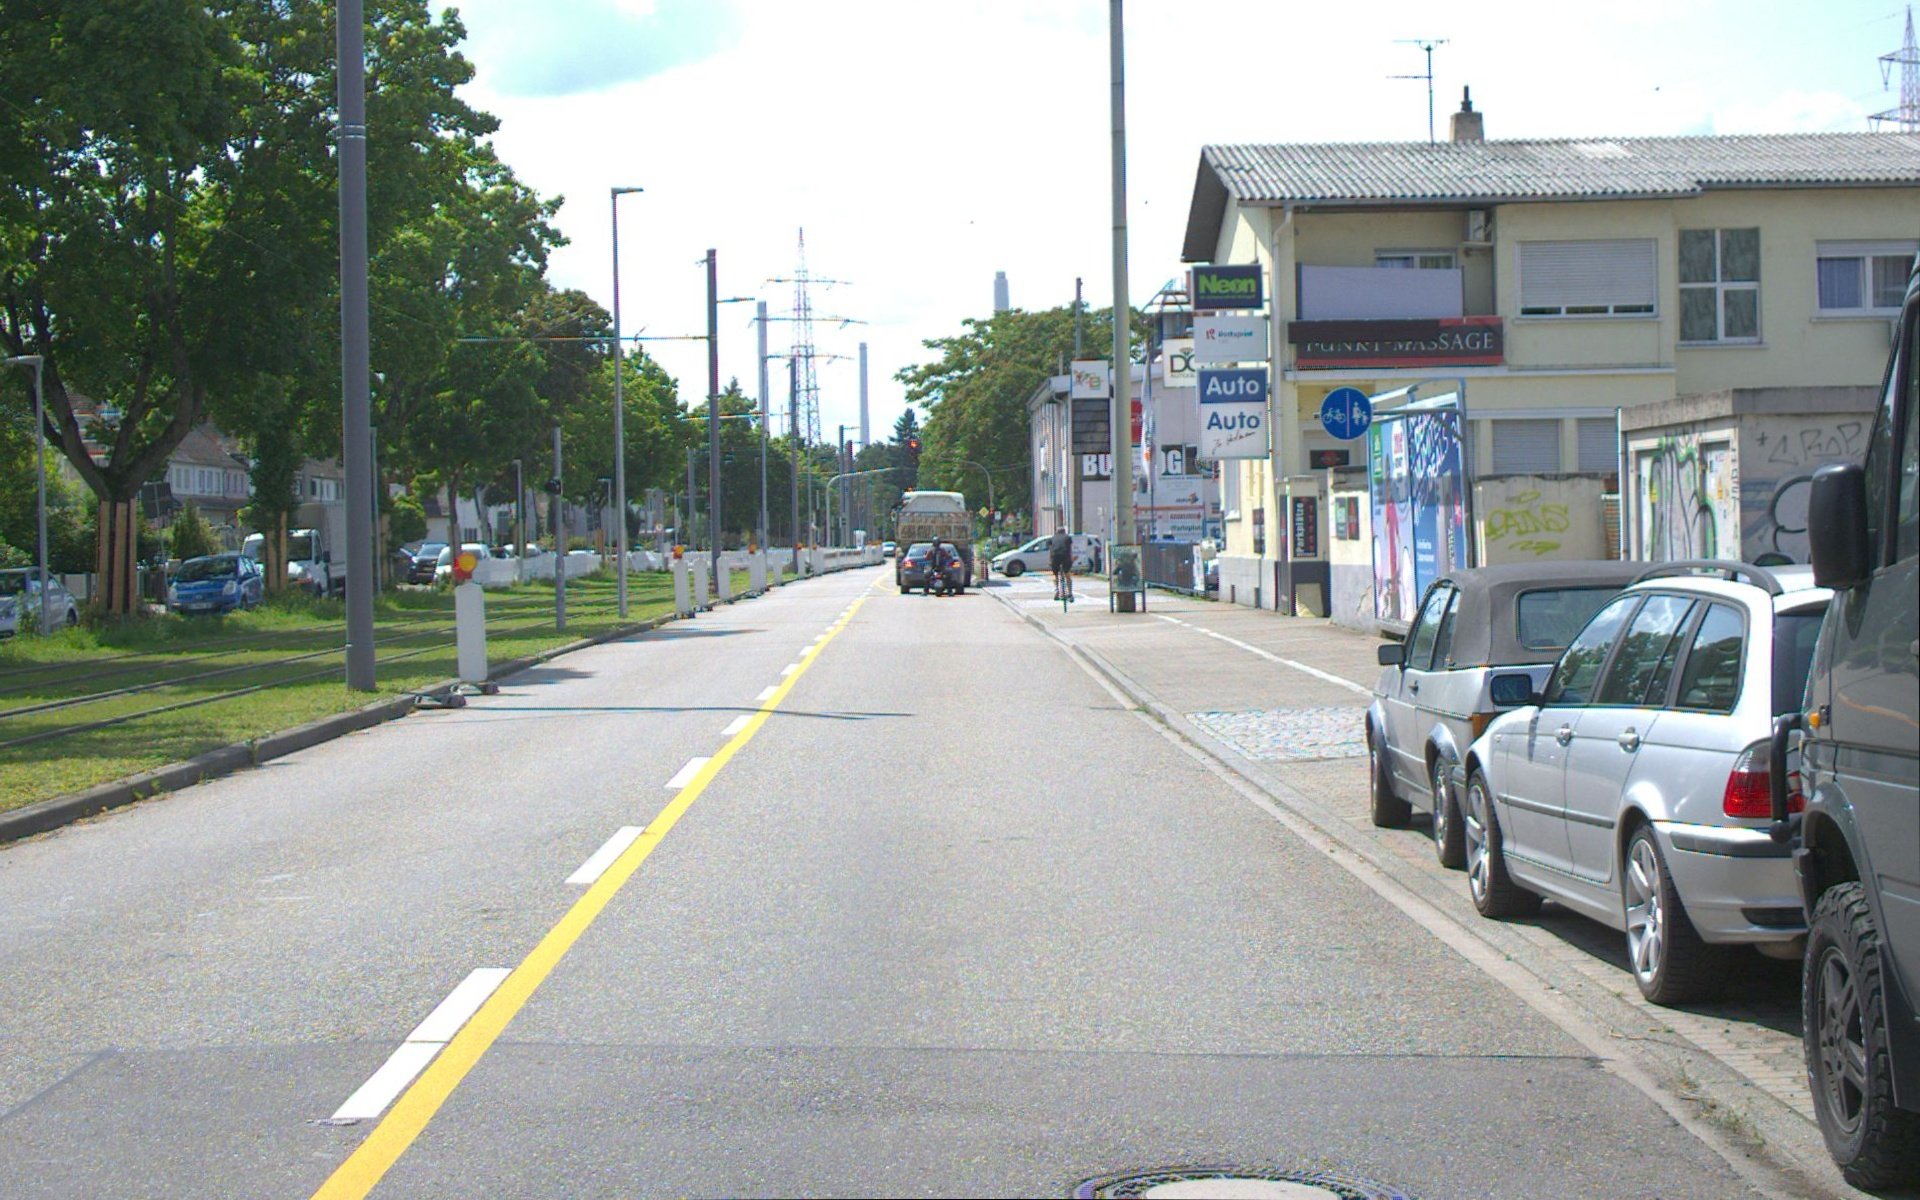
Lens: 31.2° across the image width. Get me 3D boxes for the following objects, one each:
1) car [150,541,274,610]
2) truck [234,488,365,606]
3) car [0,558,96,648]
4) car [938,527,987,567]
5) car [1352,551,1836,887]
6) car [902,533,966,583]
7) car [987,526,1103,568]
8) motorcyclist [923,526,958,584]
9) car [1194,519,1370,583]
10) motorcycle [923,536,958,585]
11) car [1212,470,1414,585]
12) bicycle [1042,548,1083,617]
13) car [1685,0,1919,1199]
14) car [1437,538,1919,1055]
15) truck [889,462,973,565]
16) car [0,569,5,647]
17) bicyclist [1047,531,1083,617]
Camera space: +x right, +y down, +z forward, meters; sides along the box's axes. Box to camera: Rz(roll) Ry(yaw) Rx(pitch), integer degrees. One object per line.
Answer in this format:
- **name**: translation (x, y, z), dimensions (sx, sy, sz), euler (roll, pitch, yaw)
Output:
- **car**: translation (-16.643, -0.549, 76.688), dimensions (1.993, 1.448, 4.000), euler (-2, 1, -2)
- **truck**: translation (-16.773, -1.376, 87.664), dimensions (1.993, 2.758, 6.277), euler (-4, 1, 0)
- **car**: translation (-16.426, 0.047, 59.173), dimensions (1.805, 1.477, 4.939), euler (-2, 1, 0)
- **car**: translation (0.098, -2.009, 129.519), dimensions (1.821, 1.459, 4.000), euler (0, 1, 0)
- **car**: translation (3.029, 0.504, 17.204), dimensions (1.651, 1.426, 4.097), euler (-2, 1, 0)
- **car**: translation (-0.764, -1.244, 100.330), dimensions (1.821, 1.419, 4.000), euler (0, 1, 0)
- **car**: translation (3.410, -2.120, 137.783), dimensions (4.329, 1.546, 1.950), euler (-2, 0, -8)
- **motorcyclist**: translation (-0.550, -1.255, 95.674), dimensions (0.939, 1.609, 1.205), euler (1, 1, 0)
- **car**: translation (7.877, -1.193, 83.937), dimensions (4.184, 1.426, 1.820), euler (-1, 1, 7)
- **motorcycle**: translation (-0.557, -1.105, 95.857), dimensions (0.939, 1.316, 2.645), euler (1, 1, 0)
- **car**: translation (8.308, -1.705, 81.201), dimensions (4.537, 2.564, 2.151), euler (-1, 1, 2)
- **bicycle**: translation (2.102, -0.374, 70.678), dimensions (0.693, 1.357, 2.419), euler (-1, 1, -1)
- **car**: translation (2.969, -0.025, 6.590), dimensions (1.996, 2.751, 4.879), euler (-2, 1, 0)
- **car**: translation (2.998, 0.550, 12.422), dimensions (1.691, 1.511, 4.356), euler (-2, 1, -3)
- **truck**: translation (-0.924, -2.999, 116.403), dimensions (2.610, 3.244, 9.183), euler (-2, 2, 0)
- **car**: translation (-16.418, 0.181, 53.520), dimensions (1.993, 1.313, 3.853), euler (-4, 1, -1)
- **bicyclist**: translation (2.152, -0.547, 70.573), dimensions (0.671, 1.738, 0.813), euler (-1, 1, -1)
